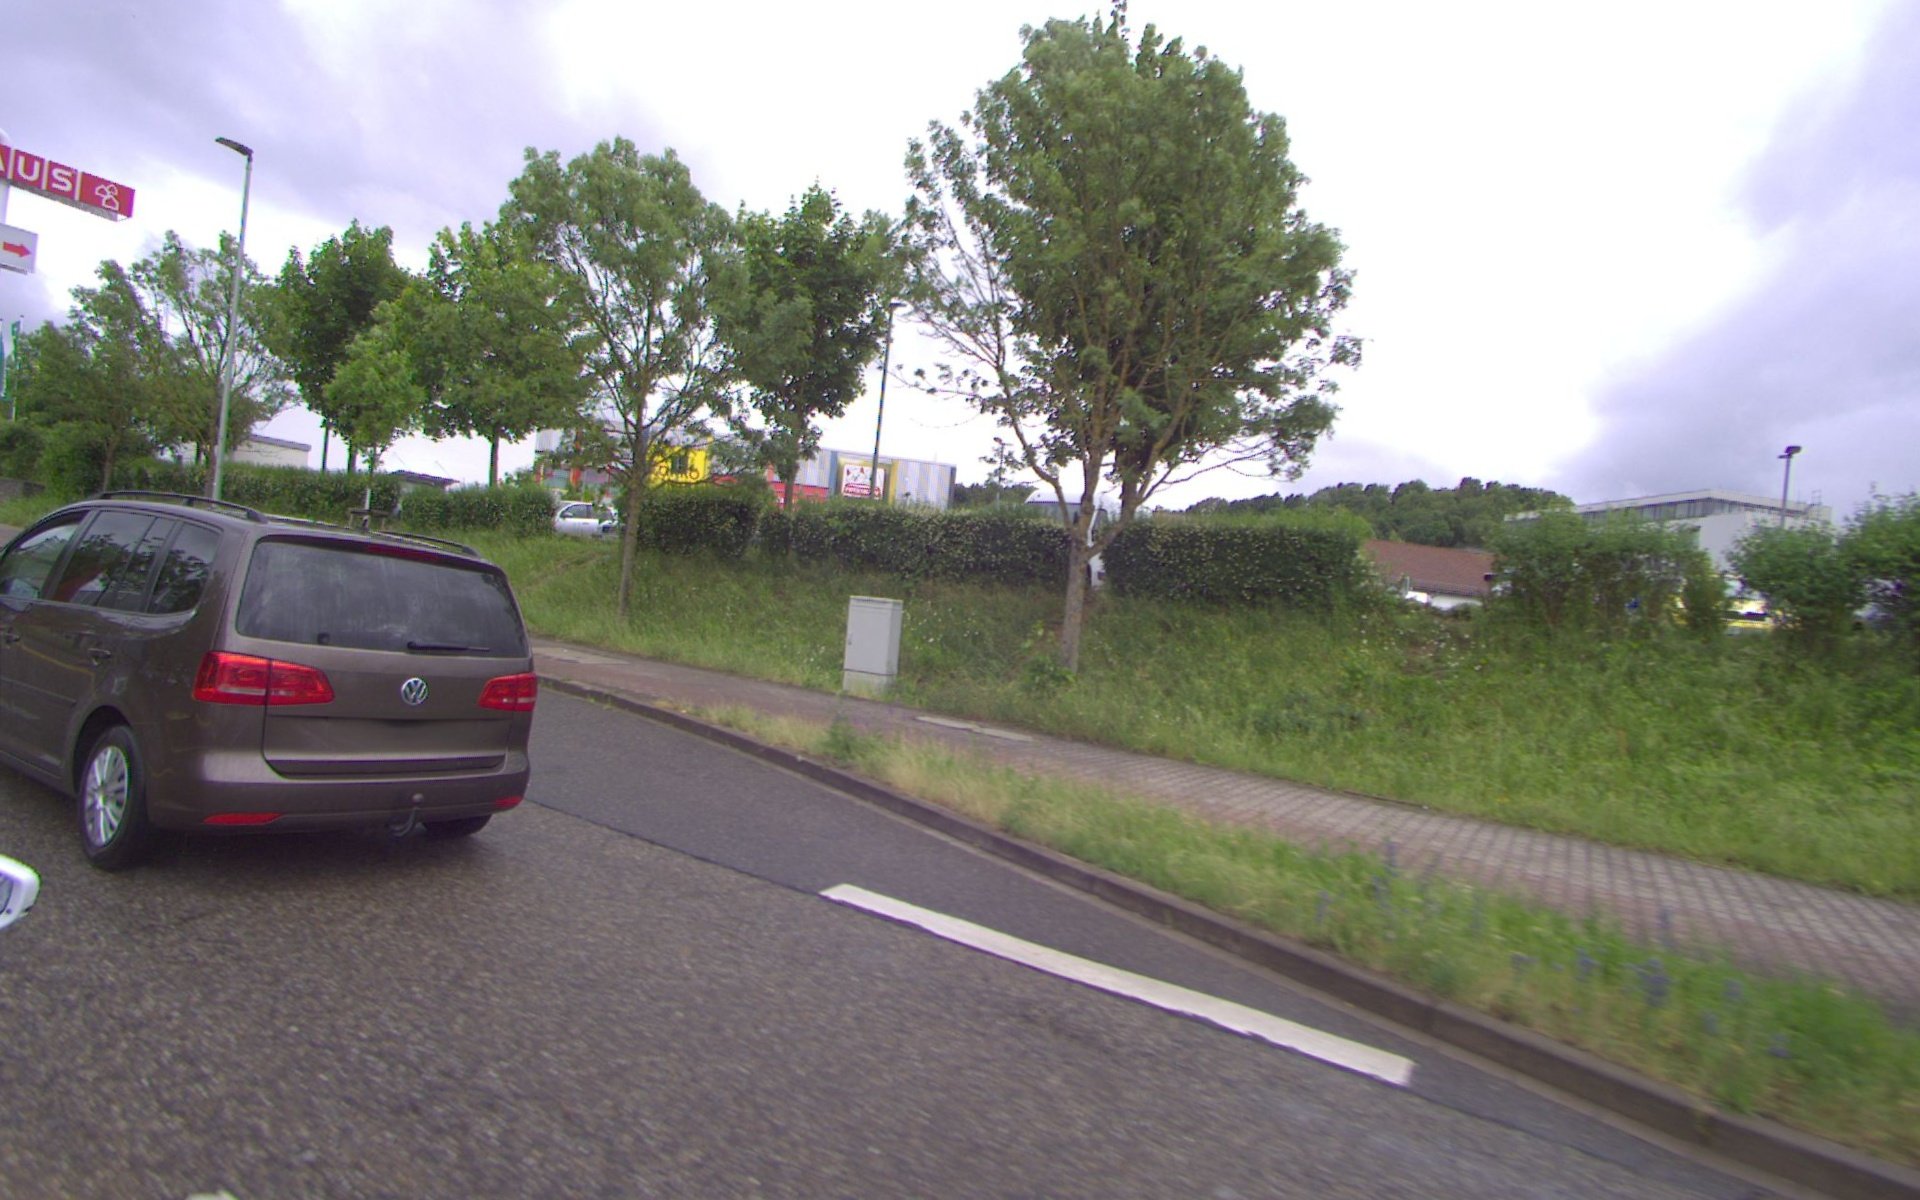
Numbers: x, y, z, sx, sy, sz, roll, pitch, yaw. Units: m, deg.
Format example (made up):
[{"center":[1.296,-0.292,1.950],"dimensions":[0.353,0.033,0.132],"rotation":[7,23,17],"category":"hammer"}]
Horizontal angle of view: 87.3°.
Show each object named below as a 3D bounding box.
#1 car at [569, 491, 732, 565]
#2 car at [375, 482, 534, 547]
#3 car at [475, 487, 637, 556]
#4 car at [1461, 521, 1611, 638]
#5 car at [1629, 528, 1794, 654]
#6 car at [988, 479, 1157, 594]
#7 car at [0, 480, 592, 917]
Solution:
[{"center":[-8.707,-1.995,28.687],"dimensions":[1.894,1.651,4.351],"rotation":[6,2,27],"category":"car"},{"center":[-16.526,-2.752,33.107],"dimensions":[1.894,1.651,4.351],"rotation":[6,2,27],"category":"car"},{"center":[-12.178,-2.331,30.638],"dimensions":[1.894,1.651,4.351],"rotation":[6,2,27],"category":"car"},{"center":[10.379,-0.313,17.977],"dimensions":[1.835,1.759,3.983],"rotation":[7,3,35],"category":"car"},{"center":[12.425,-0.119,16.821],"dimensions":[1.835,1.759,3.983],"rotation":[7,3,35],"category":"car"},{"center":[2.793,-1.365,23.461],"dimensions":[2.084,2.171,5.615],"rotation":[6,2,25],"category":"car"},{"center":[-4.221,0.314,5.633],"dimensions":[4.148,1.599,1.689],"rotation":[6,-3,31],"category":"car"}]
